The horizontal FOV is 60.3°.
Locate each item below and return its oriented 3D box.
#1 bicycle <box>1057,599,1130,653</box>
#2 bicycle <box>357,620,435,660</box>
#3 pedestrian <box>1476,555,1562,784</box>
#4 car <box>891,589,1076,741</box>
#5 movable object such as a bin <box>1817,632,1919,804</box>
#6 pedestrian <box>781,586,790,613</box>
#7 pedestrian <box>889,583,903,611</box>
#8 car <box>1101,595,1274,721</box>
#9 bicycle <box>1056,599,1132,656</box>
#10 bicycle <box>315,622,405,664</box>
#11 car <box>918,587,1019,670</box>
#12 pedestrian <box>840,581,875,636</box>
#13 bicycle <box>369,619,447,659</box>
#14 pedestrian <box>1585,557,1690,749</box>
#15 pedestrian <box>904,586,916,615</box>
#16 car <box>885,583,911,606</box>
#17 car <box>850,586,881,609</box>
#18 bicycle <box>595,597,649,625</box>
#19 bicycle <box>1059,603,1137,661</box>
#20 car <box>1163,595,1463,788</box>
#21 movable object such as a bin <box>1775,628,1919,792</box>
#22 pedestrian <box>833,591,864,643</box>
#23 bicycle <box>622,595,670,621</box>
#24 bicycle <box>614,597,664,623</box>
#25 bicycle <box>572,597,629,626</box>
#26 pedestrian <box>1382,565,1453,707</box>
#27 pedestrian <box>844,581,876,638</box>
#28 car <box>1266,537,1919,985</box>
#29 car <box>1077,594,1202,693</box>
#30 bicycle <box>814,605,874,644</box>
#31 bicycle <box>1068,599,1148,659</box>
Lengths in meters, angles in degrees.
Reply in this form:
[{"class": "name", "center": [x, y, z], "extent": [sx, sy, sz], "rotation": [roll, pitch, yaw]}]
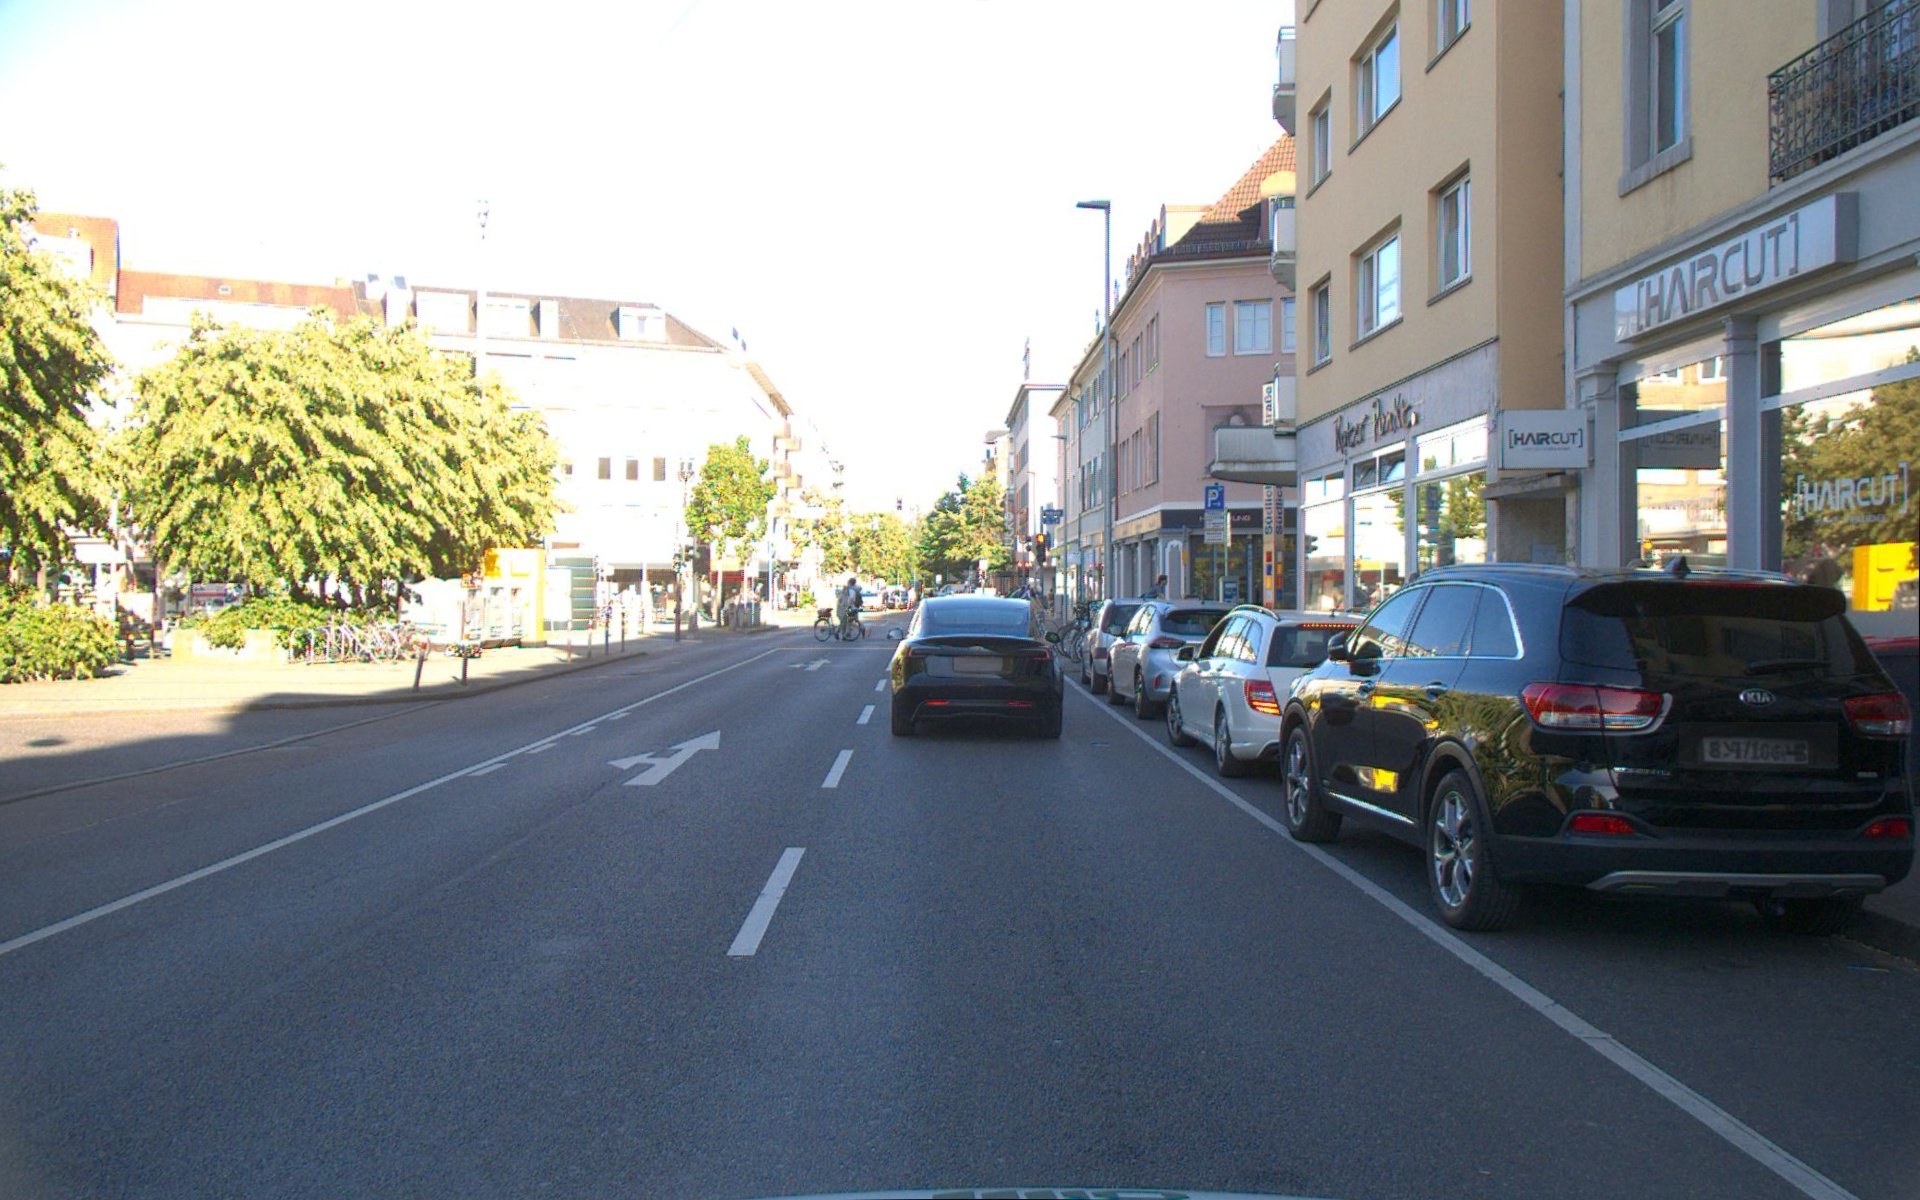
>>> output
[{"class": "bicycle", "center": [3.021, 0.578, 37.398], "extent": [1.594, 1.180, 0.433], "rotation": [-1, 0, 1]}, {"class": "bicycle", "center": [-11.571, 0.818, 33.963], "extent": [1.442, 0.782, 0.441], "rotation": [1, 0, 4]}, {"class": "pedestrian", "center": [4.484, 0.547, 13.266], "extent": [0.430, 1.793, 0.475], "rotation": [1, 0, -37]}, {"class": "car", "center": [0.253, 0.631, 18.225], "extent": [1.812, 1.480, 3.786], "rotation": [1, 0, 1]}, {"class": "movable object such as a bin", "center": [6.072, 0.753, 10.751], "extent": [0.653, 1.043, 0.620], "rotation": [-2, 0, 2]}, {"class": "pedestrian", "center": [-13.291, -0.048, 125.922], "extent": [0.613, 2.049, 0.707], "rotation": [1, 0, 0]}, {"class": "pedestrian", "center": [-4.611, -0.229, 119.965], "extent": [0.741, 2.049, 0.792], "rotation": [1, 0, -26]}, {"class": "car", "center": [2.864, 0.682, 21.593], "extent": [1.636, 1.452, 4.076], "rotation": [1, 0, -1]}, {"class": "bicycle", "center": [2.925, 0.595, 36.198], "extent": [1.595, 1.180, 0.432], "rotation": [-1, 0, -1]}, {"class": "bicycle", "center": [-11.825, 0.850, 32.588], "extent": [1.621, 0.782, 0.475], "rotation": [1, 0, 9]}, {"class": "car", "center": [0.171, 0.501, 31.729], "extent": [1.812, 1.480, 3.786], "rotation": [1, 0, 1]}, {"class": "pedestrian", "center": [-3.131, 0.250, 50.385], "extent": [0.965, 1.665, 0.737], "rotation": [1, 0, 3]}, {"class": "bicycle", "center": [-11.521, 0.809, 34.522], "extent": [1.442, 0.782, 0.475], "rotation": [1, 0, 2]}, {"class": "pedestrian", "center": [6.002, 0.456, 14.680], "extent": [0.682, 1.661, 0.532], "rotation": [-1, 0, -3]}, {"class": "pedestrian", "center": [-3.573, 0.035, 118.453], "extent": [0.614, 2.049, 0.559], "rotation": [1, 0, 24]}, {"class": "car", "center": [-4.922, -0.455, 131.595], "extent": [2.009, 1.757, 4.651], "rotation": [1, 0, -3]}, {"class": "car", "center": [-7.003, -0.198, 122.821], "extent": [1.953, 1.568, 4.000], "rotation": [-3, 0, 0]}, {"class": "bicycle", "center": [-13.853, 0.459, 67.781], "extent": [2.040, 1.123, 0.806], "rotation": [1, 0, -1]}, {"class": "bicycle", "center": [2.929, 0.670, 35.232], "extent": [1.595, 1.180, 0.432], "rotation": [-1, 0, -1]}, {"class": "car", "center": [3.036, 0.710, 15.168], "extent": [1.703, 1.472, 4.463], "rotation": [1, 0, -1]}, {"class": "movable object such as a bin", "center": [6.105, 0.744, 11.403], "extent": [0.646, 1.059, 0.620], "rotation": [-2, 0, 2]}, {"class": "pedestrian", "center": [-3.215, 0.489, 47.743], "extent": [0.727, 1.465, 0.582], "rotation": [1, 0, 18]}, {"class": "bicycle", "center": [-14.186, 0.371, 74.748], "extent": [2.040, 1.123, 0.806], "rotation": [1, 0, -1]}, {"class": "bicycle", "center": [-14.068, 0.423, 72.555], "extent": [2.040, 1.123, 0.806], "rotation": [1, 0, -1]}, {"class": "bicycle", "center": [-14.174, 0.452, 65.260], "extent": [2.040, 1.123, 0.806], "rotation": [1, 0, -1]}, {"class": "pedestrian", "center": [5.479, 0.423, 19.842], "extent": [0.648, 1.661, 0.628], "rotation": [-2, 0, 4]}, {"class": "pedestrian", "center": [-3.114, 0.288, 51.462], "extent": [0.882, 1.755, 0.744], "rotation": [1, 0, 3]}, {"class": "car", "center": [3.077, 0.625, 8.871], "extent": [1.720, 1.767, 4.569], "rotation": [1, 0, -4]}, {"class": "car", "center": [2.762, 0.637, 26.175], "extent": [1.588, 1.419, 3.886], "rotation": [1, 0, 1]}, {"class": "bicycle", "center": [-3.337, 0.704, 47.506], "extent": [1.581, 1.063, 0.591], "rotation": [1, 0, 15]}, {"class": "bicycle", "center": [3.046, 0.601, 34.085], "extent": [1.595, 1.180, 0.432], "rotation": [-1, 0, -1]}]
